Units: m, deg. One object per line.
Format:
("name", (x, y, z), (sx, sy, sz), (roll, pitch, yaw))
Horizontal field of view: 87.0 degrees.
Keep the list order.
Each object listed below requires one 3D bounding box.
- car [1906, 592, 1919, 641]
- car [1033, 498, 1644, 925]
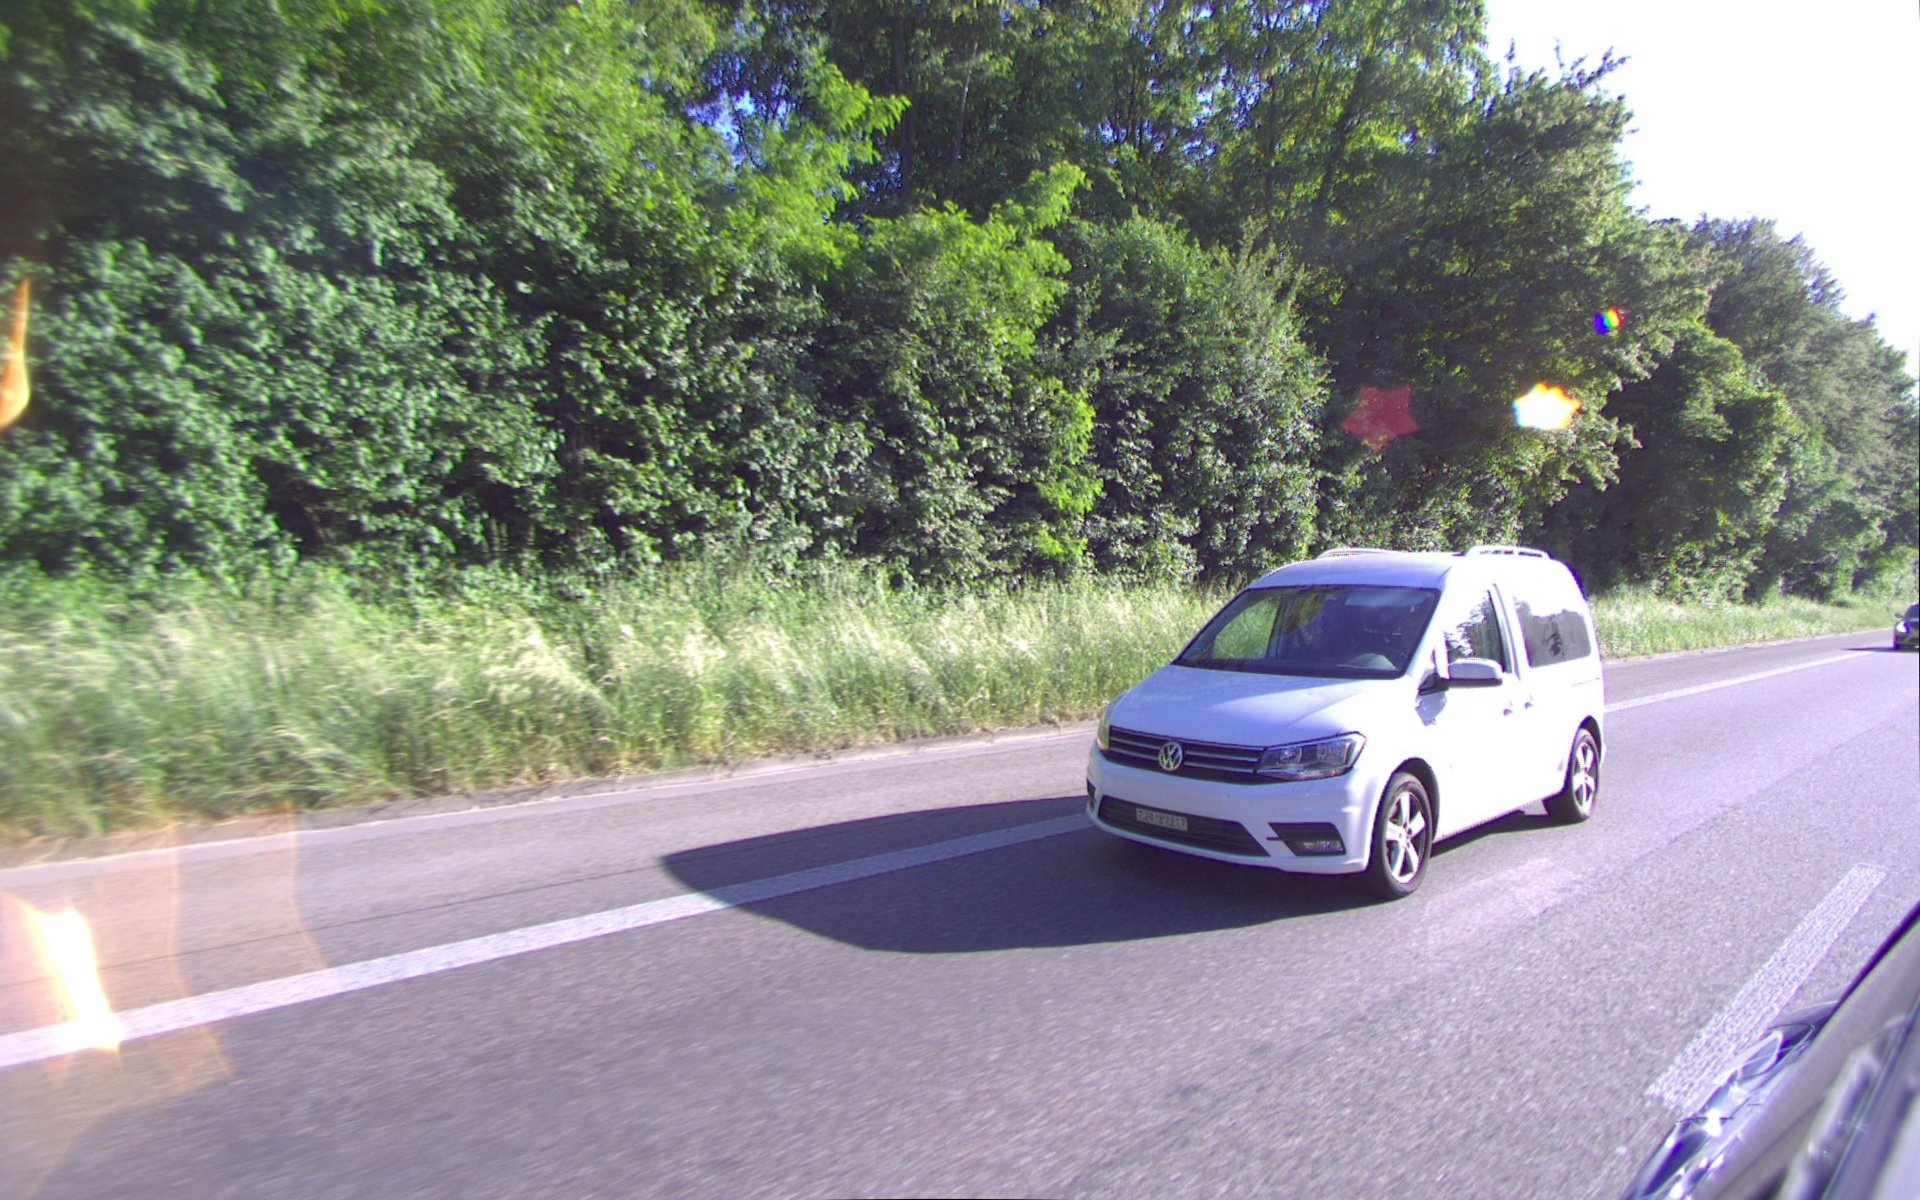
("car", (30.123, 0.494, 30.684), (3.811, 1.467, 1.792), (0, 0, -42))
("car", (2.690, 0.452, 6.535), (4.508, 1.836, 1.802), (-1, 1, -41))
